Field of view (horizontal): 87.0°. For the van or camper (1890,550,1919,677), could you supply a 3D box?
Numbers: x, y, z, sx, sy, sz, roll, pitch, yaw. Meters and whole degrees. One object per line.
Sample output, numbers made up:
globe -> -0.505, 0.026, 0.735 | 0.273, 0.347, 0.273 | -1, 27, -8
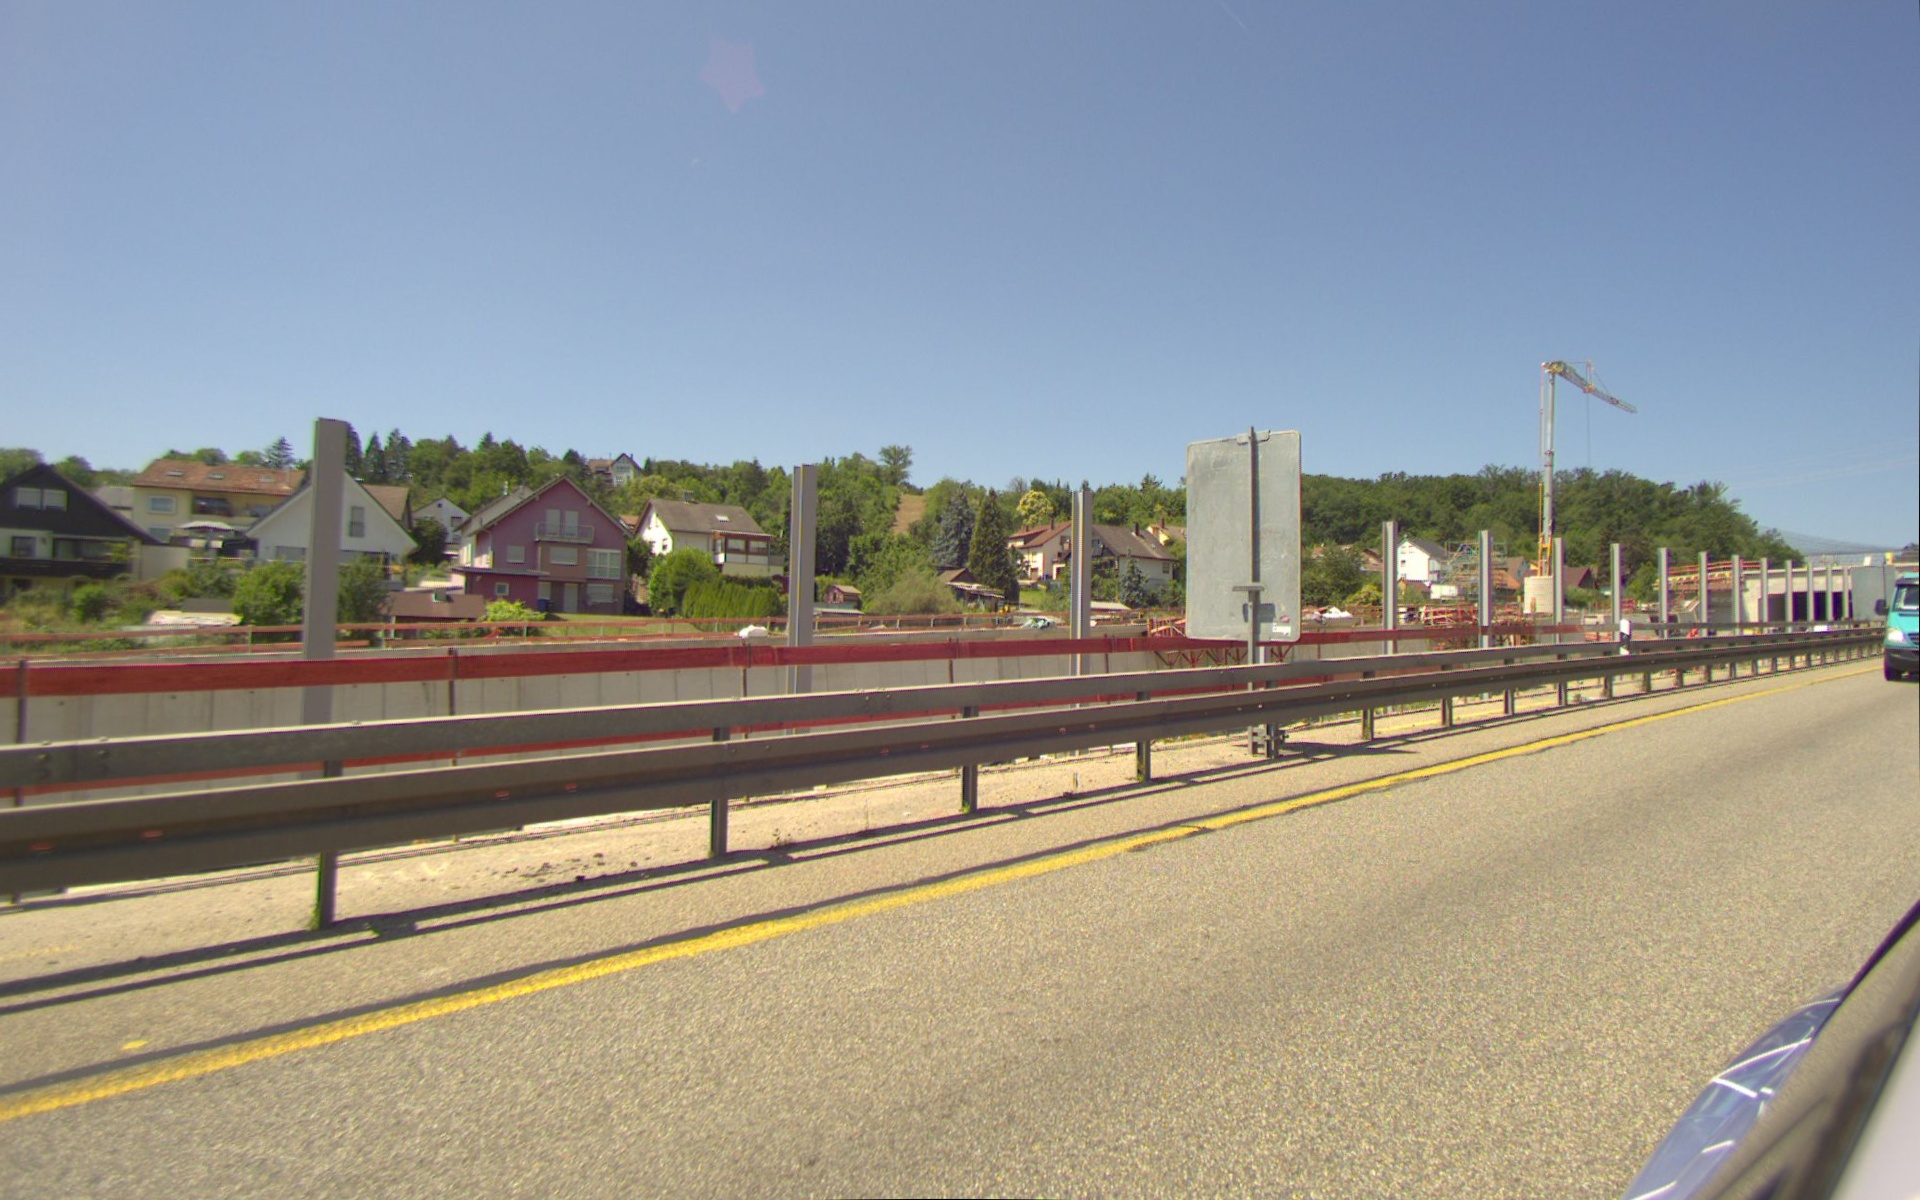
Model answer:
van or camper -> 22.175, 0.280, 21.946 | 7.536, 2.504, 2.096 | 0, 0, -41
